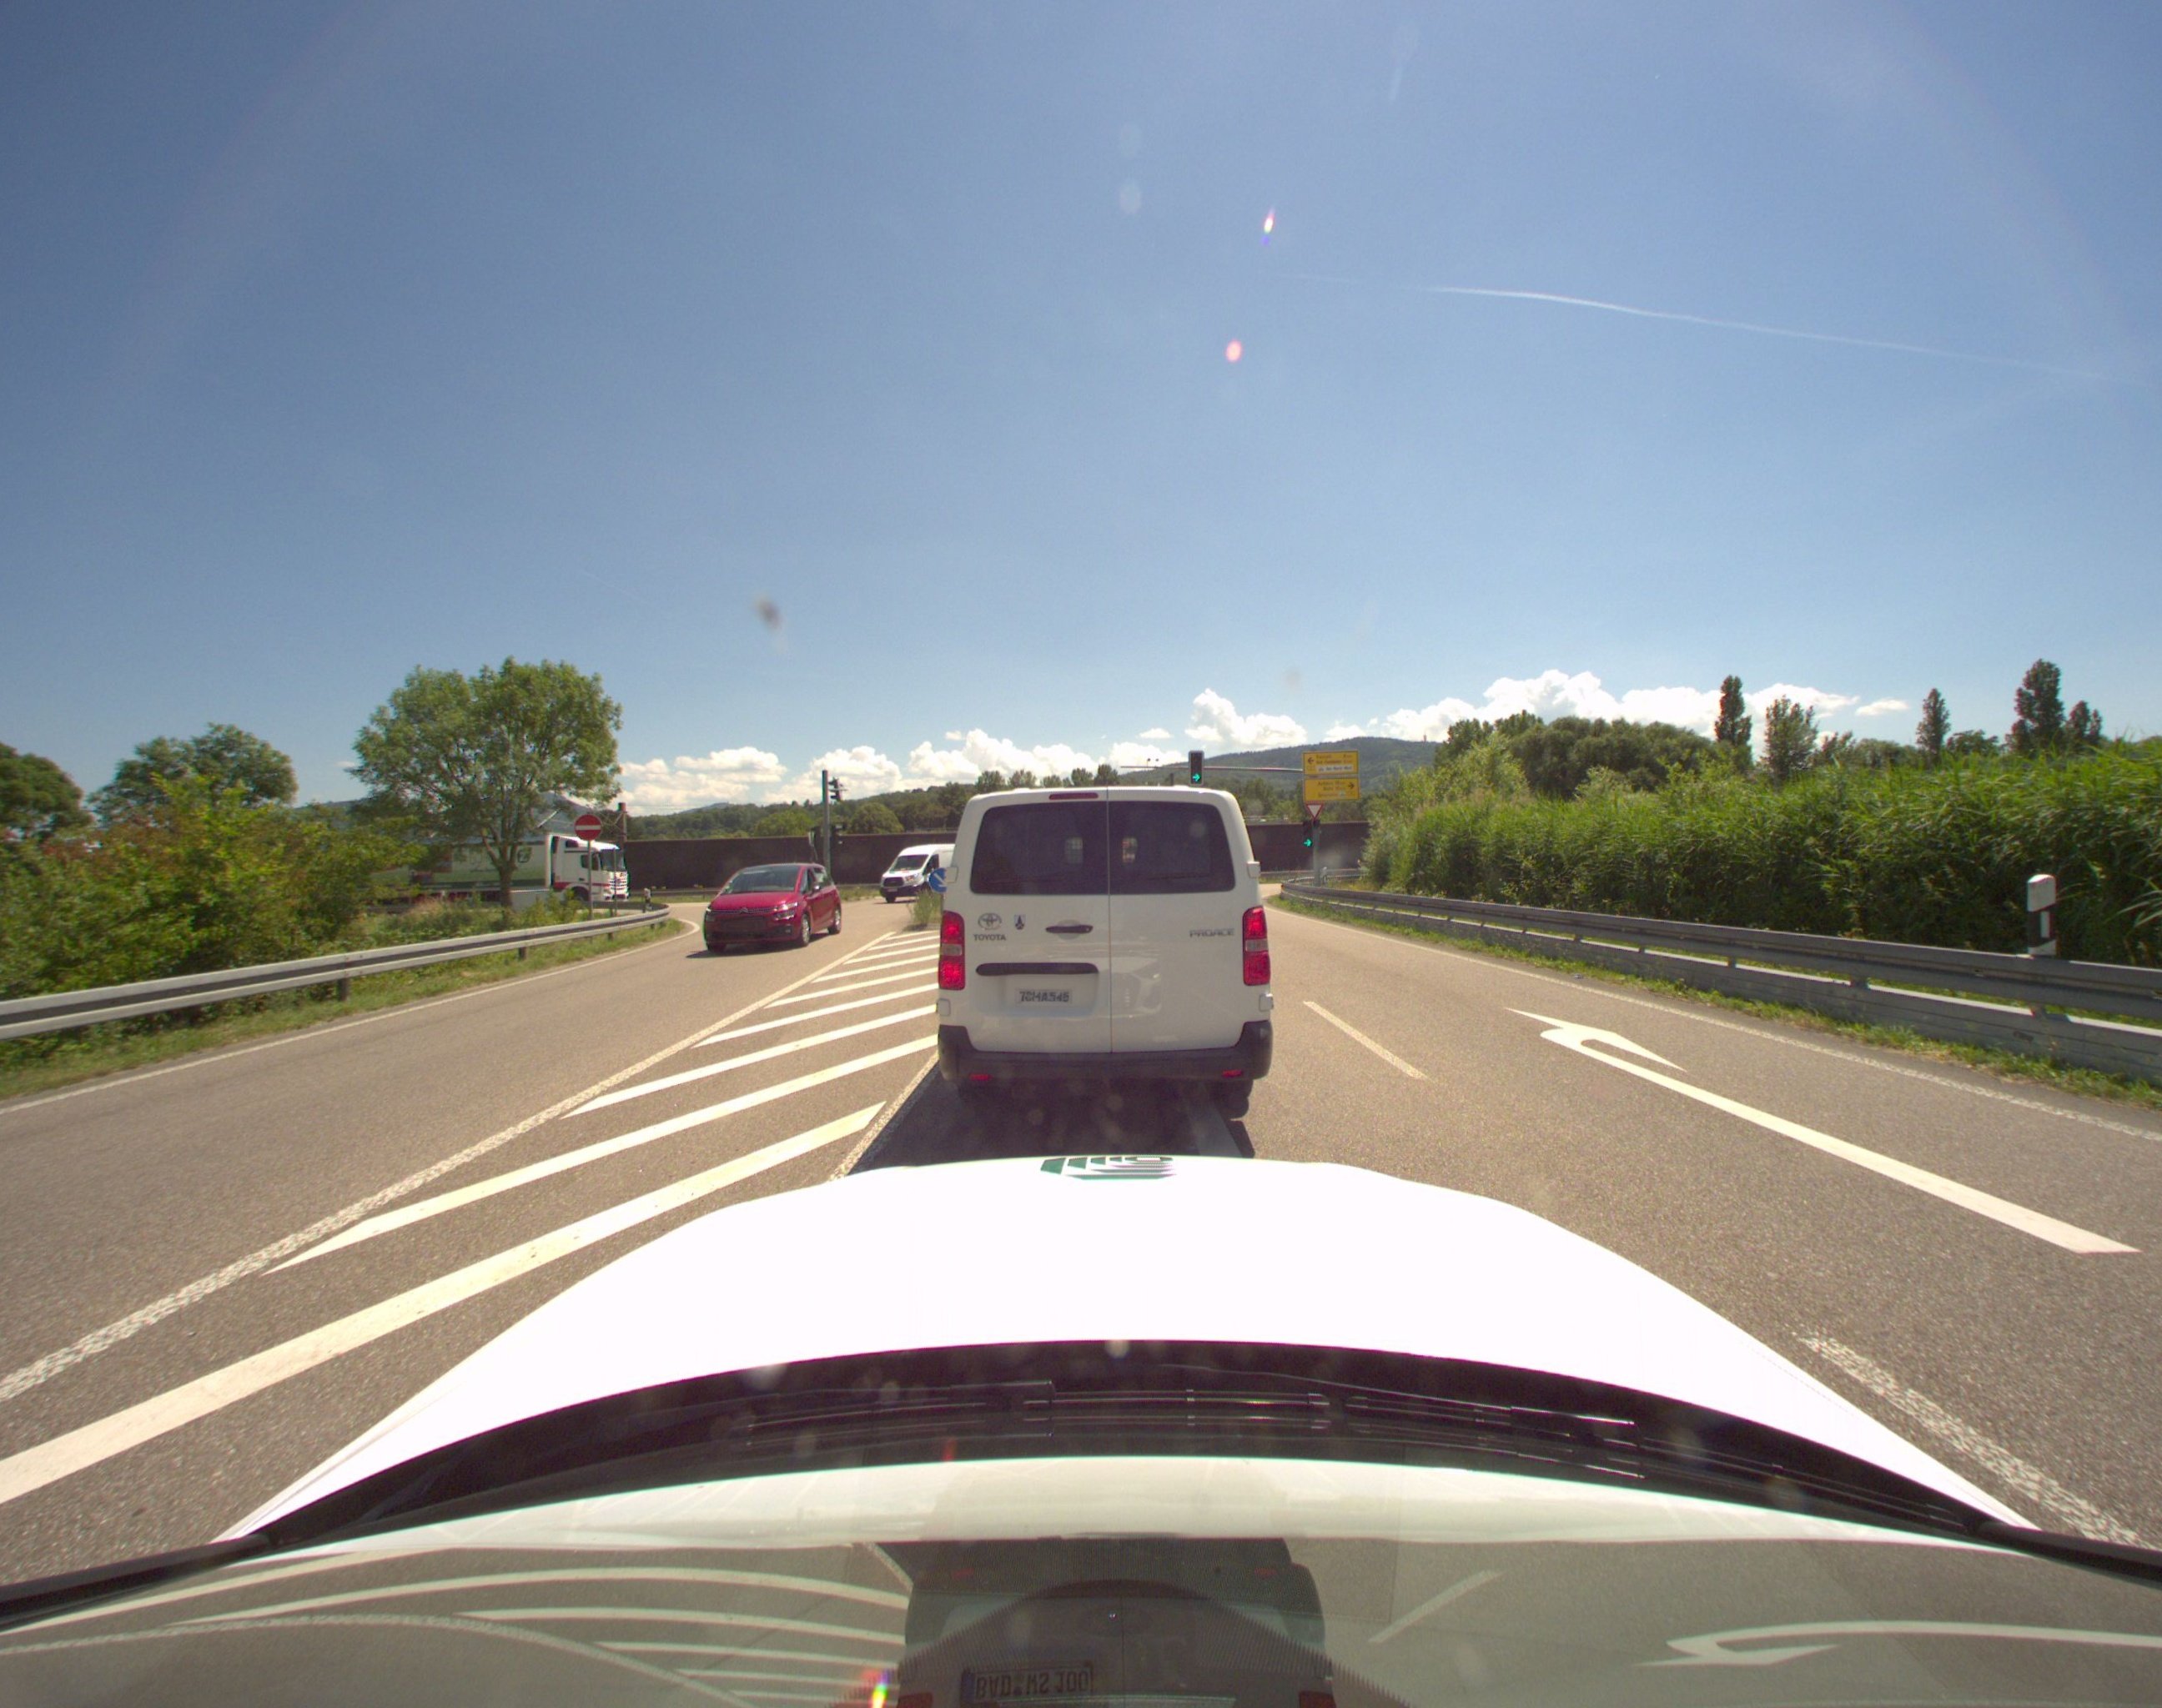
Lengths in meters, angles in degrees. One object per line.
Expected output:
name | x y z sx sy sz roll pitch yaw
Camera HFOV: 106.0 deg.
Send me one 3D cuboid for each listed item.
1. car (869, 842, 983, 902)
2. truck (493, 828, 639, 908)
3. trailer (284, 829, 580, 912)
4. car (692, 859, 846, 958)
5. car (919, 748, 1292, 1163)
car | -6.779 0.729 36.454 1.975 2.416 5.622 -3 0 25
truck | -27.176 0.725 43.194 5.746 3.954 3.062 -1 -1 0
trailer | -34.095 0.852 43.147 13.098 3.954 3.062 -1 -1 0
car | -6.174 0.996 16.653 1.733 1.685 4.202 -3 -1 -5
car | 0.179 0.518 6.030 1.808 2.018 4.001 -1 -1 2
